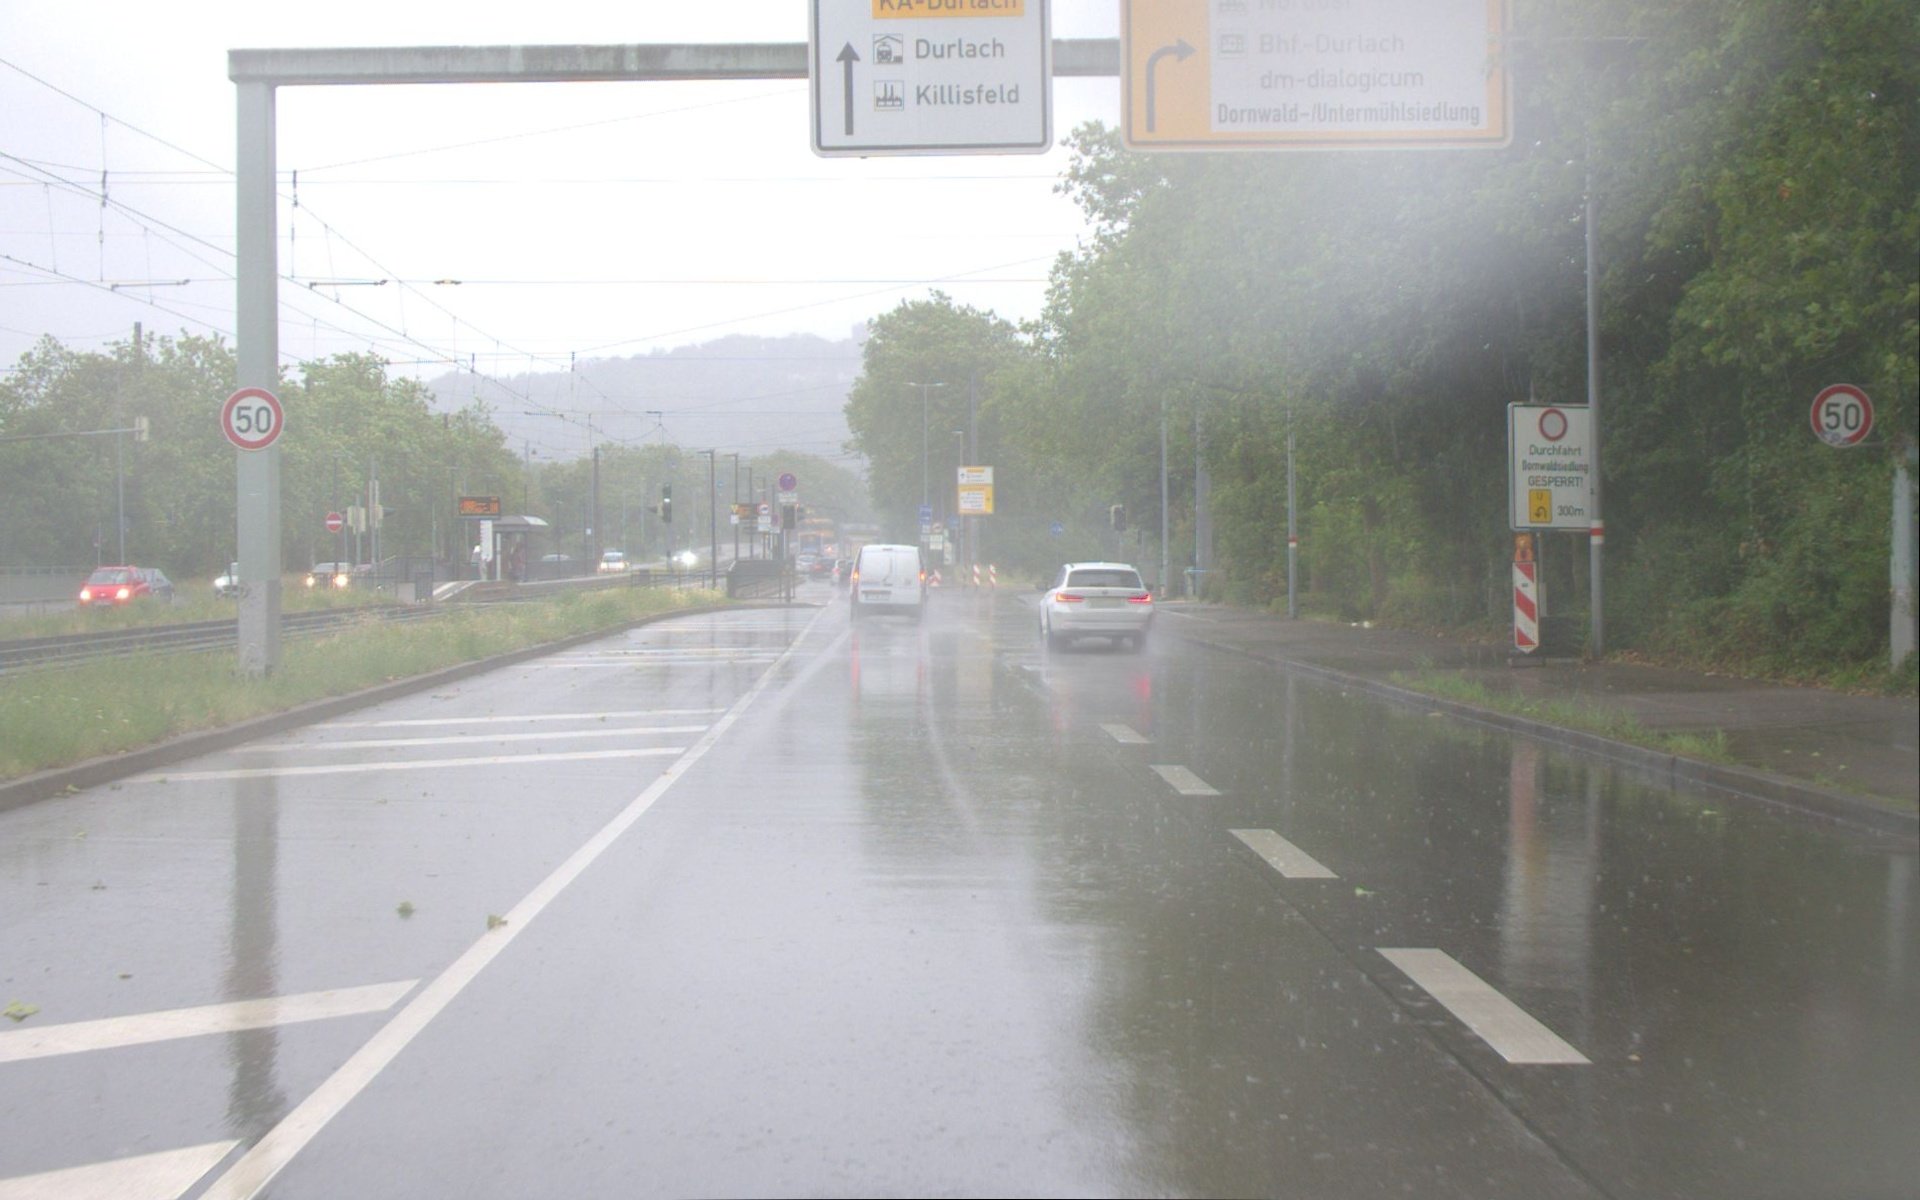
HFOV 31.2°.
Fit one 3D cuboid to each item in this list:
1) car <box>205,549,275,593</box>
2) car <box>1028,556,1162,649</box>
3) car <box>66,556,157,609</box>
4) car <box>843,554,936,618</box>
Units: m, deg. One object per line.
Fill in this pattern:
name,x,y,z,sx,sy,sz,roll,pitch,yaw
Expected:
car,-24.909,-1.017,119.051,1.720,1.489,4.000,0,1,-2
car,2.273,0.015,58.780,1.948,1.531,4.467,0,1,-2
car,-24.129,-0.507,97.858,1.720,1.489,4.000,0,1,-2
car,-1.625,-0.336,78.866,2.077,1.415,4.000,0,1,-1
